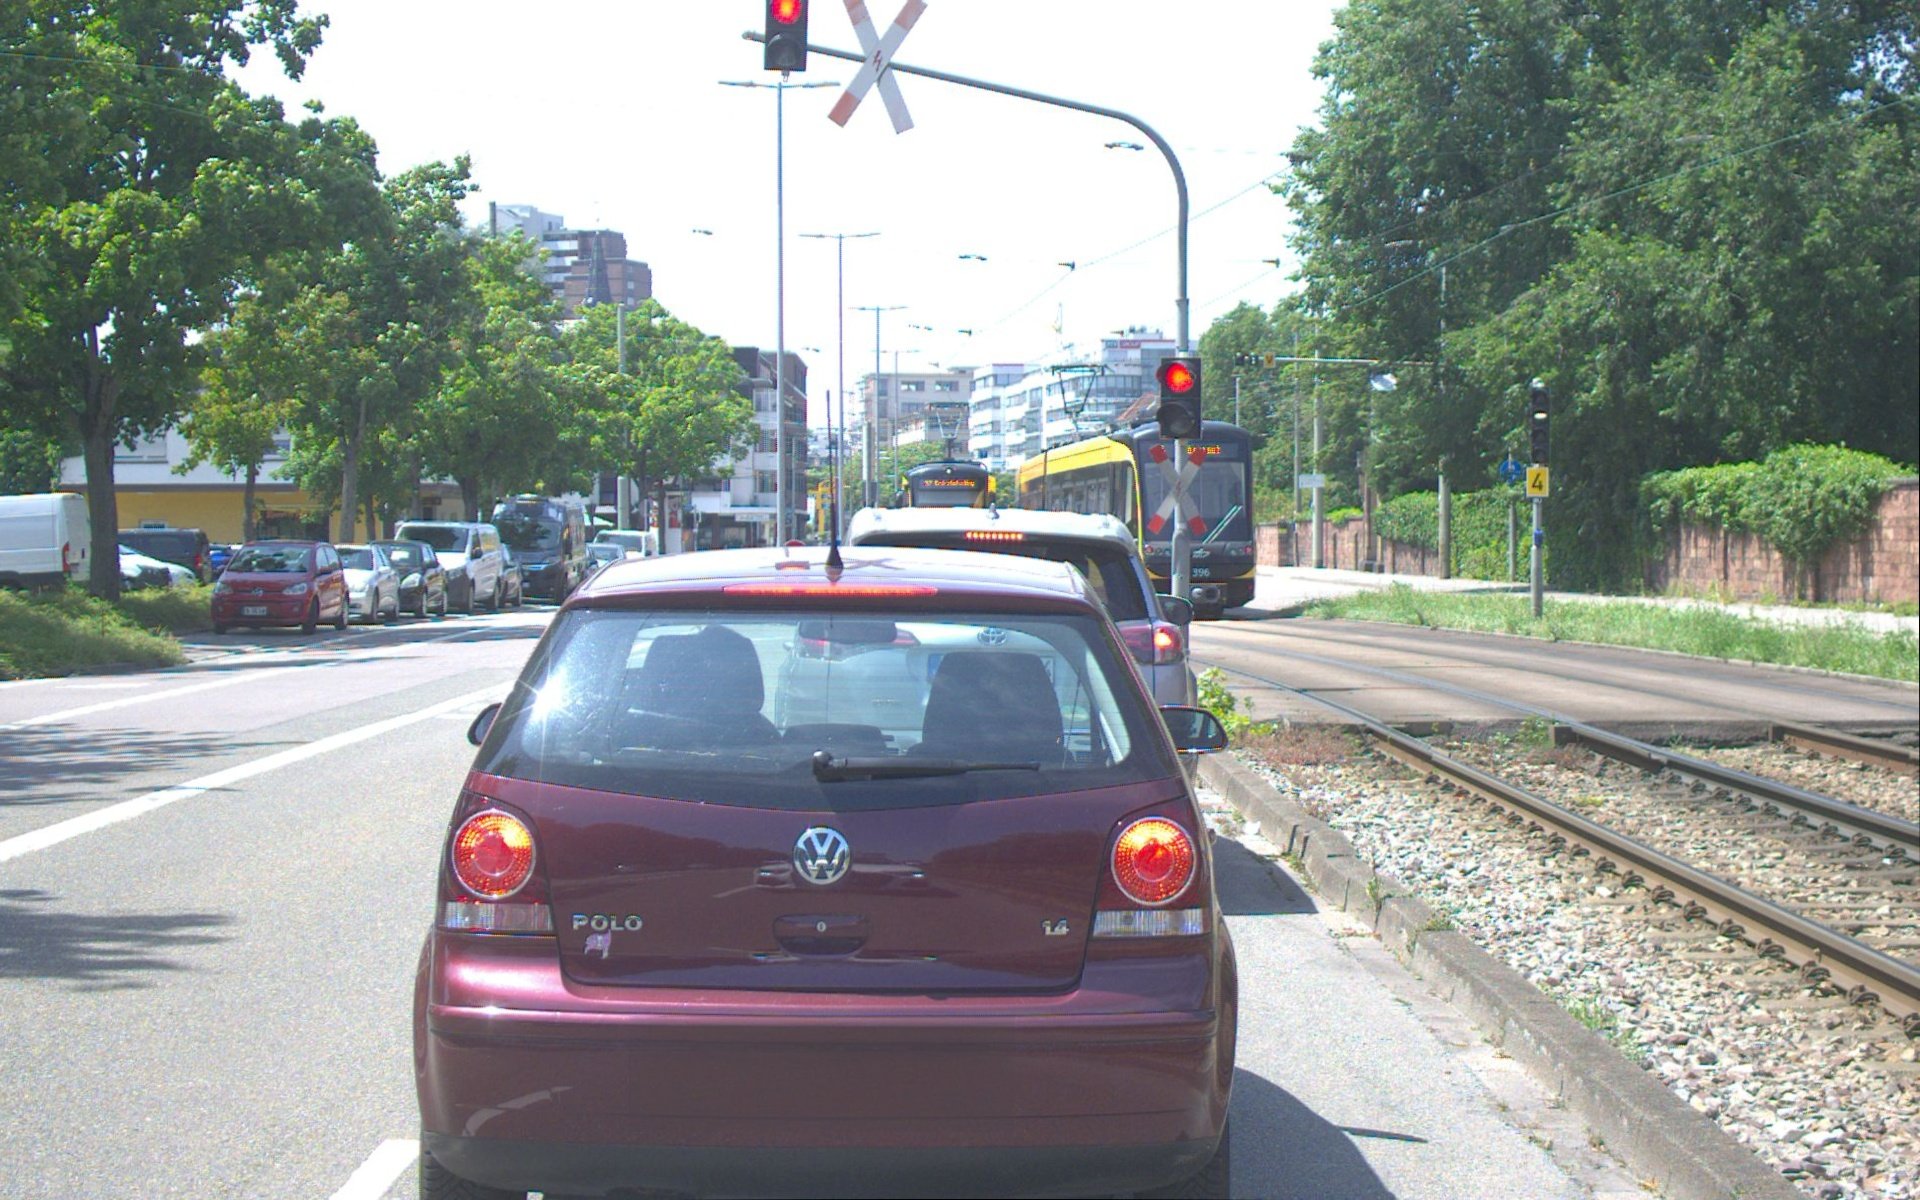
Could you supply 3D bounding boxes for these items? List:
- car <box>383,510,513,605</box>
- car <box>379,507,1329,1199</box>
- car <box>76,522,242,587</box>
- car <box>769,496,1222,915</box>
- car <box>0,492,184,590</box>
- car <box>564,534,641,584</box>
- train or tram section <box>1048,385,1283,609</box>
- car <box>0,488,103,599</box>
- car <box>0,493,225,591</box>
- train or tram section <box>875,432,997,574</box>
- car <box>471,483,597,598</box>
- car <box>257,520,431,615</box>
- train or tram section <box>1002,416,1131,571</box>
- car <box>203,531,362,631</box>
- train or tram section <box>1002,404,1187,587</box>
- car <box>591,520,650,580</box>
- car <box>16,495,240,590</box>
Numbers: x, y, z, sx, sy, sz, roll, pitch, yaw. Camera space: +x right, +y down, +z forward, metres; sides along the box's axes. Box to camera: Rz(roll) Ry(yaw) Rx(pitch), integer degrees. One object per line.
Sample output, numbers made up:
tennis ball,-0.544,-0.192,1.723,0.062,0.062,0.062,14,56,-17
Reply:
car,-10.737,-0.879,72.344,1.783,1.875,4.785,2,0,2
car,-0.237,0.567,8.165,1.672,1.516,4.000,1,1,-1
car,-21.624,-1.218,92.904,4.020,1.611,1.816,2,0,1
car,0.095,0.379,15.795,1.777,1.641,4.000,1,1,-1
car,-21.692,-1.439,83.429,5.097,2.237,2.378,2,0,1
car,-10.692,-1.214,103.012,1.614,1.436,4.000,2,0,3
train or tram section,3.674,-1.904,65.053,3.028,3.785,13.091,0,1,-3
car,-20.884,-1.231,72.210,5.097,2.237,2.378,2,0,1
car,-21.217,-1.443,85.897,5.097,2.237,2.378,2,0,1
train or tram section,-0.782,-2.687,95.865,2.740,3.597,12.872,2,1,-3
car,-10.537,-1.458,85.381,2.361,2.683,5.307,2,0,0
car,-11.073,-0.573,62.108,1.976,1.595,4.557,2,0,4
train or tram section,2.698,-2.778,90.909,3.028,3.785,12.761,0,1,0
car,-10.901,-0.311,55.561,1.663,1.491,4.000,2,0,1
train or tram section,2.881,-2.318,78.058,3.028,3.785,13.091,0,1,-3
car,-10.731,-1.571,108.666,1.774,1.822,4.001,2,0,-6
car,-21.391,-1.469,88.536,5.097,2.237,2.378,2,0,1
